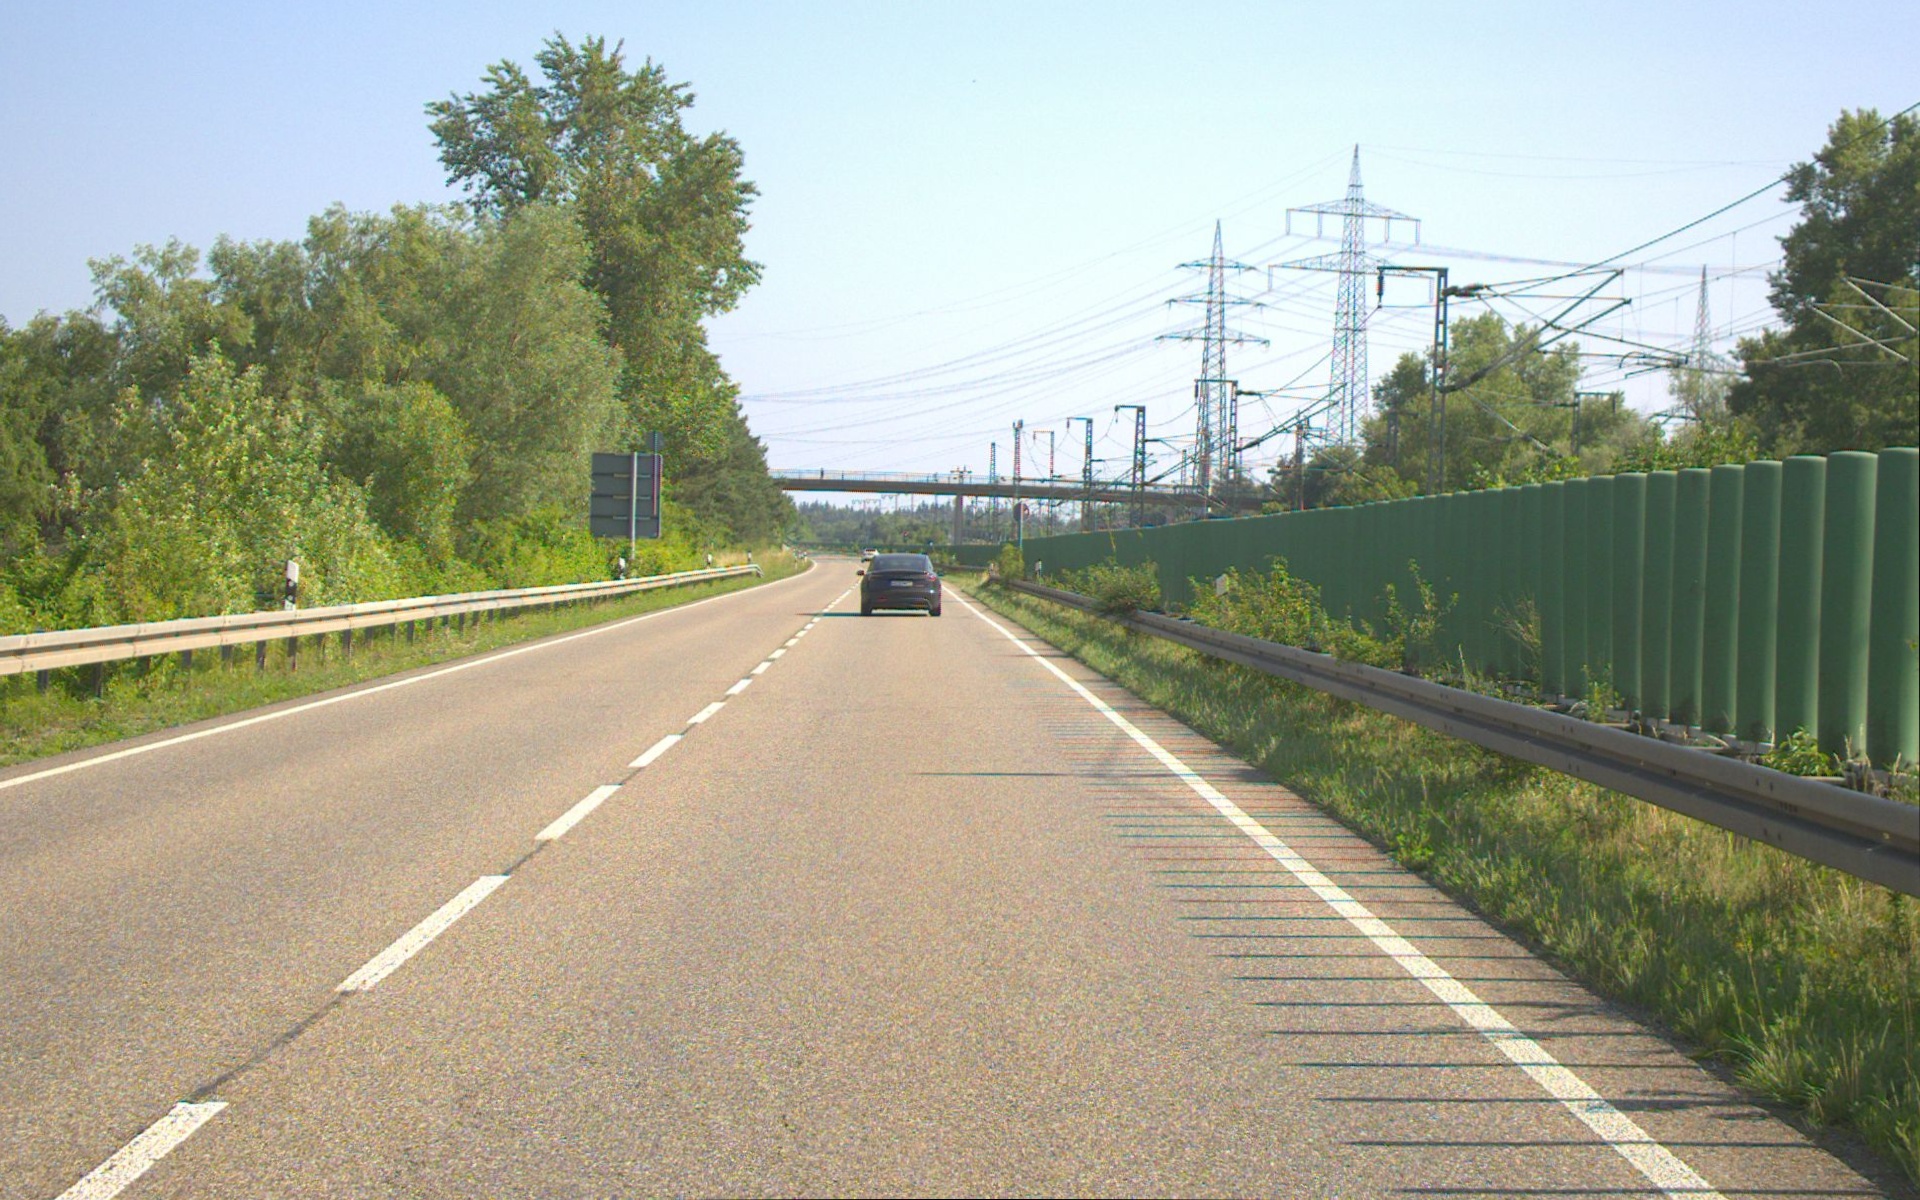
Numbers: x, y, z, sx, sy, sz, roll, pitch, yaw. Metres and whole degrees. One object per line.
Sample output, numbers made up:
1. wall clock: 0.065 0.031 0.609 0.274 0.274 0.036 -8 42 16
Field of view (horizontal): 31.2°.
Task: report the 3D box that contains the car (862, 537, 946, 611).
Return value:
1. car: -1.316 -0.617 79.550 1.858 1.636 4.000 1 1 -2
